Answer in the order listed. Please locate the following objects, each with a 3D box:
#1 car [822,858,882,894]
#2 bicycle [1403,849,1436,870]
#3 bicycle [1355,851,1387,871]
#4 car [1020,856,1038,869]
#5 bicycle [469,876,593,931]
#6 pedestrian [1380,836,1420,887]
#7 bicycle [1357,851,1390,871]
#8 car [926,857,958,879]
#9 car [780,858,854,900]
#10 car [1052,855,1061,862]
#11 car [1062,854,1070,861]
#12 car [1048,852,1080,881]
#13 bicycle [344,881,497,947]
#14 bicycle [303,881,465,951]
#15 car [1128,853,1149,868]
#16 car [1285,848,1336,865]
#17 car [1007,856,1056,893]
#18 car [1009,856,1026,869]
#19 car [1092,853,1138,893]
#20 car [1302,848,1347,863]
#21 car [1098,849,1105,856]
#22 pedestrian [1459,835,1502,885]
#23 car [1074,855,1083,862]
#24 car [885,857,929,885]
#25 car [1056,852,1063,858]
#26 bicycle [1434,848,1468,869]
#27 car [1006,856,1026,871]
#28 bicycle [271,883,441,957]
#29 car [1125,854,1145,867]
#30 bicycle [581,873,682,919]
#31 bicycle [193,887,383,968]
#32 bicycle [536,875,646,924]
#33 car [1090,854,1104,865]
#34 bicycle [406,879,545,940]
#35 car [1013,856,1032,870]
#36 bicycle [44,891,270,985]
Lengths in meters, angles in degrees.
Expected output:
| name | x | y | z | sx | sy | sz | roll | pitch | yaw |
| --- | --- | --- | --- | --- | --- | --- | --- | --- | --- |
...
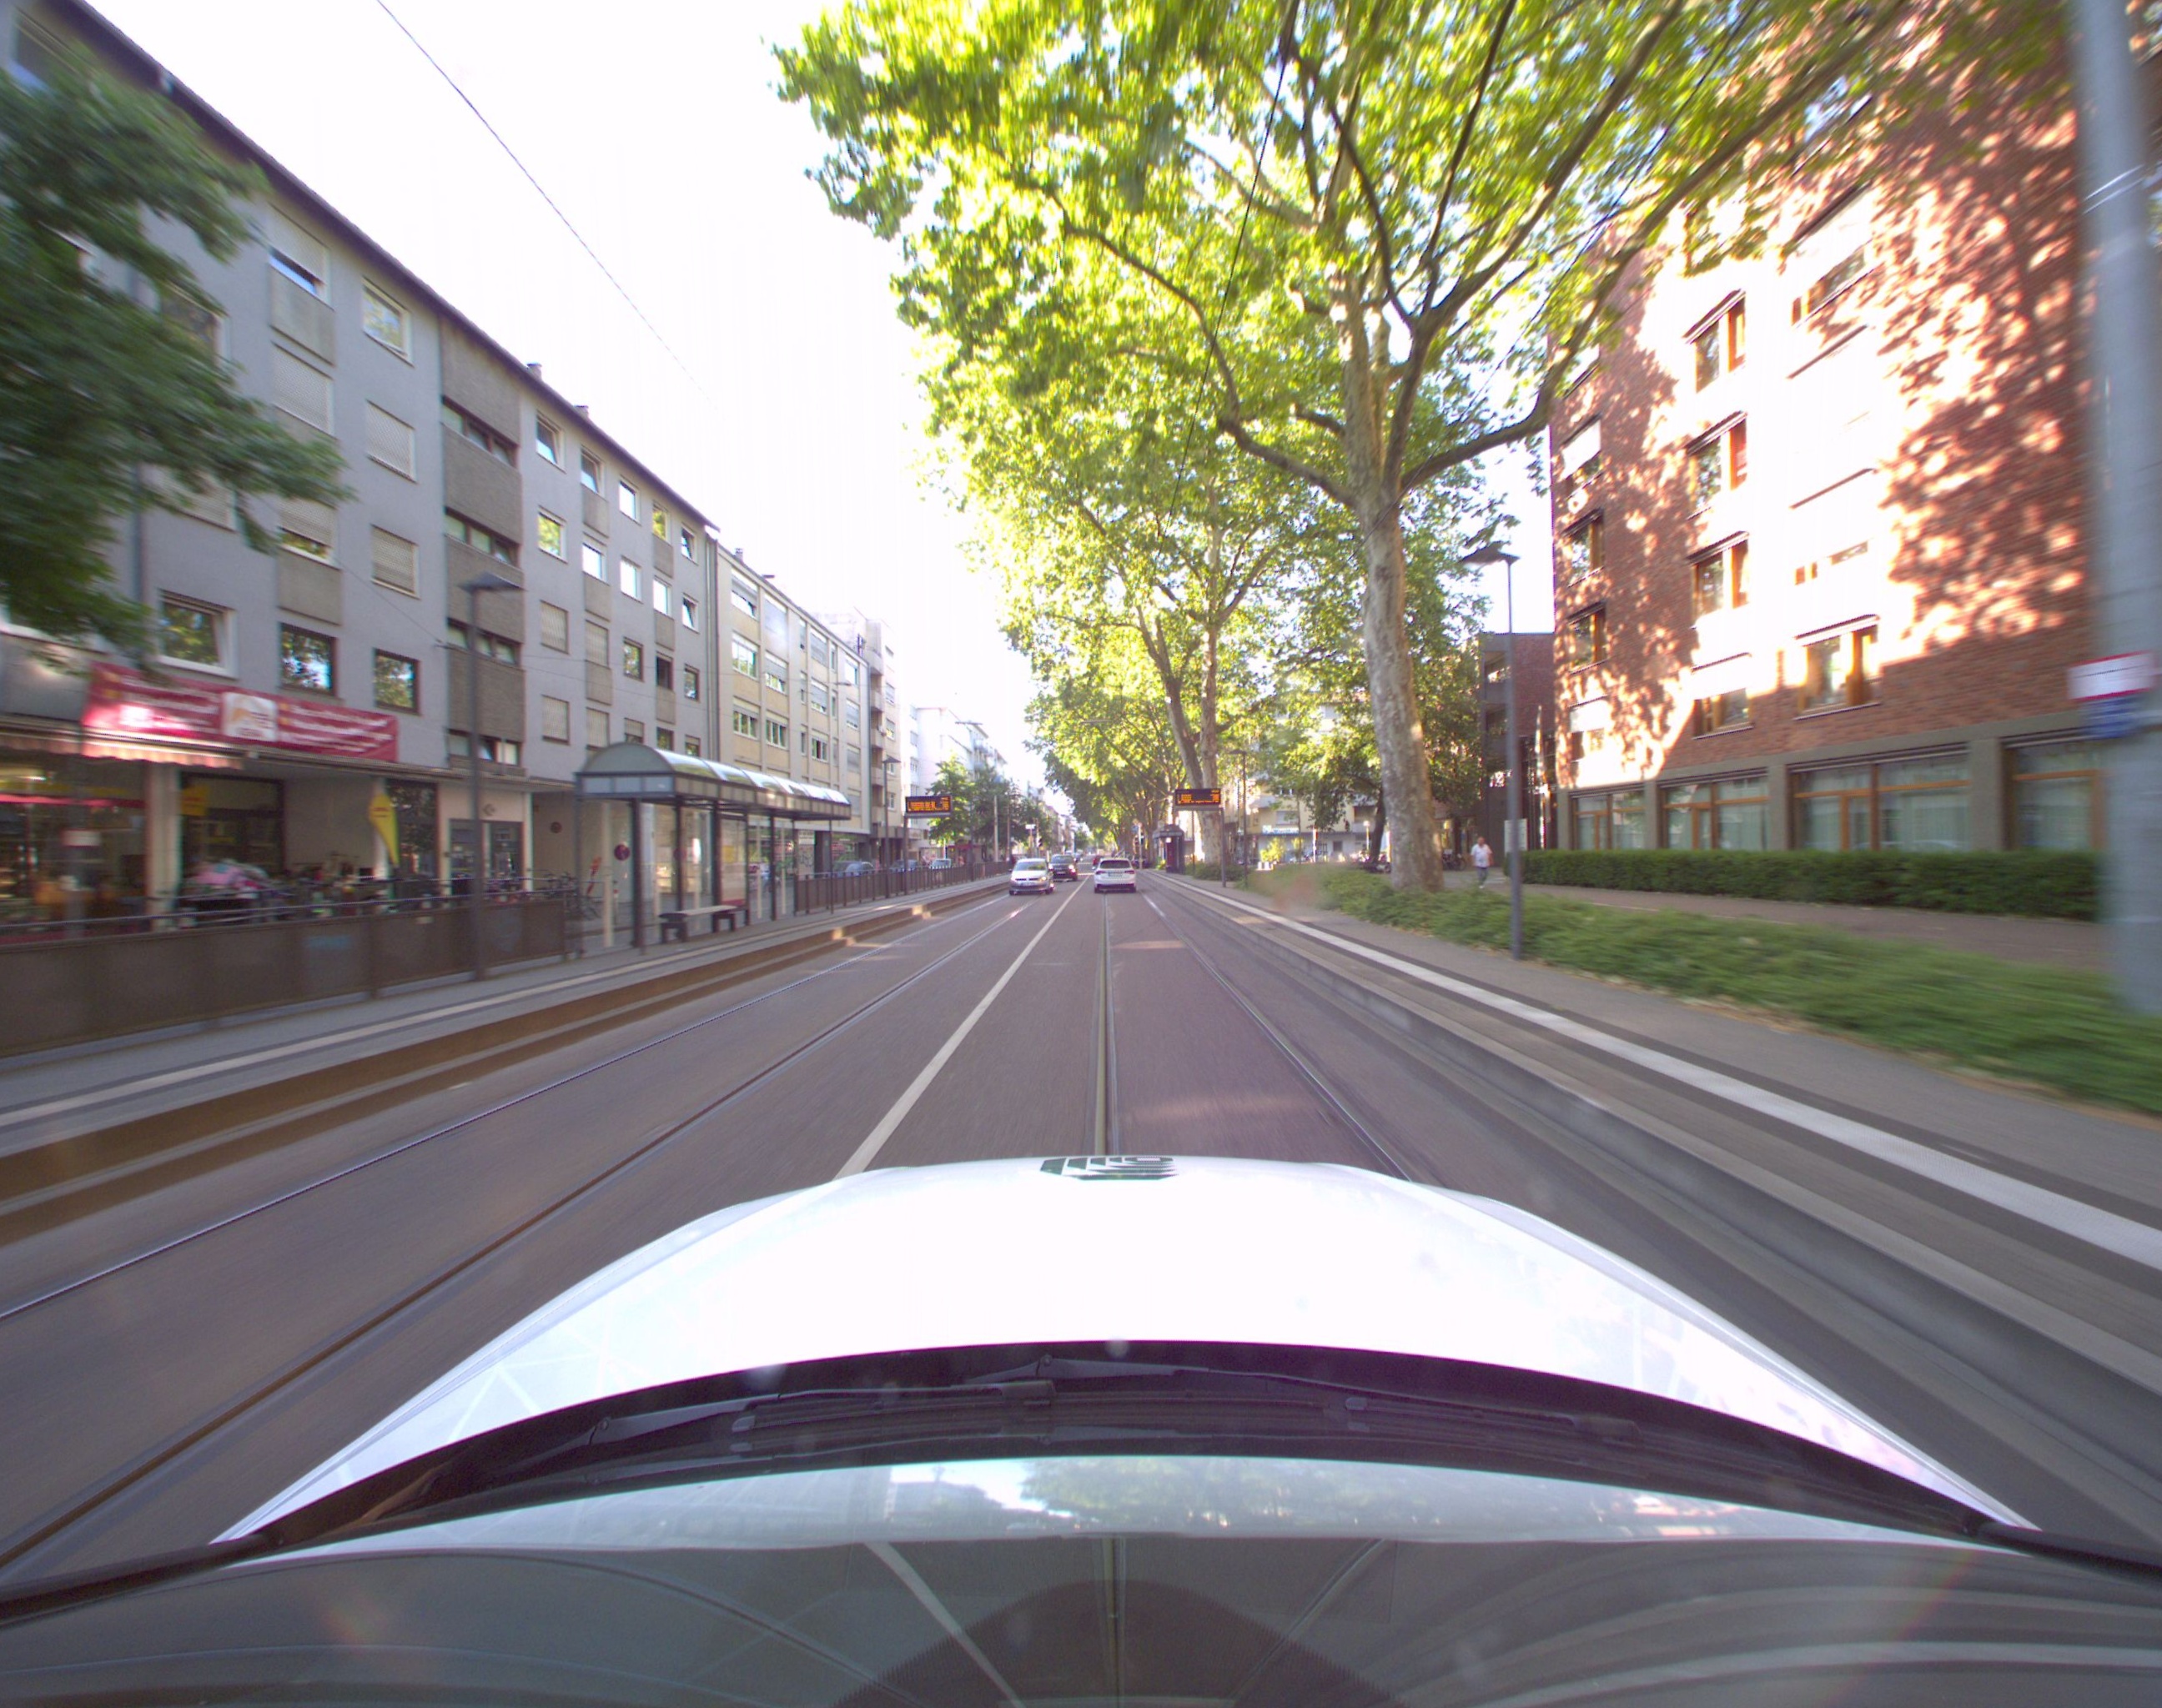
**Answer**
| name | x | y | z | sx | sy | sz | roll | pitch | yaw |
| --- | --- | --- | --- | --- | --- | --- | --- | --- | --- |
| car | -10.688 | 0.983 | 38.268 | 1.587 | 1.548 | 4.001 | 1 | 0 | 2 |
| bicycle | 17.610 | 0.272 | 42.330 | 1.552 | 1.037 | 0.482 | -2 | 0 | 22 |
| bicycle | 15.401 | 0.366 | 43.205 | 1.552 | 1.037 | 0.507 | -2 | 0 | 22 |
| car | -6.326 | 0.976 | 99.736 | 1.788 | 1.510 | 4.001 | 1 | 0 | 1 |
| bicycle | -11.903 | 1.068 | 17.651 | 2.244 | 1.074 | 0.637 | 2 | 0 | 2 |
| pedestrian | 10.606 | 0.246 | 27.106 | 0.969 | 1.623 | 0.888 | -2 | 0 | 1 |
| bicycle | 15.207 | 0.369 | 42.293 | 1.552 | 1.037 | 0.482 | -2 | 0 | 22 |
| car | -10.467 | 1.012 | 61.572 | 1.672 | 1.548 | 4.001 | 1 | 0 | 1 |
| car | -10.751 | 0.982 | 33.426 | 1.587 | 1.548 | 4.001 | 1 | 0 | 2 |
| car | -5.323 | 1.052 | 179.473 | 1.782 | 1.513 | 4.001 | -2 | 0 | 1 |
| car | -4.448 | 0.933 | 240.650 | 1.984 | 2.074 | 4.001 | -2 | 0 | 1 |
| car | -0.989 | 0.723 | 49.099 | 1.687 | 1.644 | 4.001 | -2 | 0 | 2 |
| bicycle | -11.850 | 1.063 | 14.638 | 2.244 | 1.074 | 0.637 | 2 | 0 | 2 |
| bicycle | -11.960 | 1.046 | 14.008 | 2.244 | 1.074 | 0.637 | 2 | 0 | 2 |
| car | 5.993 | 0.699 | 85.463 | 1.986 | 1.453 | 4.001 | -2 | 0 | 1 |
| car | 20.109 | 0.237 | 71.456 | 3.970 | 1.372 | 1.869 | -2 | 0 | 3 |
| car | -2.047 | 0.835 | 34.490 | 1.687 | 1.419 | 4.001 | -2 | 0 | 2 |
| car | -8.049 | 1.014 | 103.349 | 1.672 | 1.548 | 4.001 | 1 | 0 | 1 |
| car | 1.401 | 0.757 | 34.190 | 1.782 | 1.513 | 4.001 | -2 | 0 | 1 |
| car | 24.425 | 0.167 | 81.870 | 3.971 | 1.372 | 1.868 | -2 | 0 | 2 |
| car | 6.173 | -0.461 | 242.478 | 1.859 | 1.892 | 4.001 | -2 | 0 | 1 |
| pedestrian | 13.153 | 0.193 | 26.857 | 0.969 | 1.623 | 0.888 | -2 | 0 | 1 |
| car | -0.536 | 0.954 | 181.573 | 1.782 | 1.513 | 4.001 | -2 | 0 | 1 |
| car | -10.497 | 0.996 | 49.410 | 1.672 | 1.548 | 4.001 | 1 | 0 | 1 |
| car | -5.943 | 0.275 | 224.135 | 1.782 | 1.513 | 4.001 | -2 | 0 | 1 |
| bicycle | 19.211 | 0.238 | 42.321 | 1.552 | 1.037 | 0.482 | -2 | 0 | 24 |
| car | -6.886 | 0.970 | 87.054 | 1.672 | 1.548 | 4.001 | 1 | 0 | 1 |
| bicycle | -11.909 | 1.071 | 13.409 | 2.244 | 1.074 | 0.637 | 2 | 0 | 2 |
| car | 5.960 | 0.706 | 90.552 | 1.986 | 1.453 | 4.001 | -2 | 0 | 1 |
| bicycle | -11.661 | 1.082 | 21.164 | 2.244 | 1.074 | 0.637 | 2 | 0 | 2 |
| bicycle | -11.847 | 1.080 | 12.203 | 2.244 | 1.074 | 0.637 | 2 | 0 | 2 |
| bicycle | -11.703 | 1.080 | 19.479 | 2.244 | 1.074 | 0.637 | 2 | 0 | 2 |
| car | 2.250 | 0.756 | 111.924 | 1.782 | 1.513 | 4.001 | -2 | 0 | 1 |
| bicycle | -11.804 | 1.063 | 15.901 | 2.244 | 1.074 | 0.637 | 2 | 0 | 2 |
| car | -6.570 | 0.968 | 91.392 | 1.672 | 1.548 | 4.001 | 1 | 0 | 1 |
| bicycle | -11.942 | 1.068 | 10.556 | 2.244 | 1.074 | 0.637 | 2 | 0 | 2 |
